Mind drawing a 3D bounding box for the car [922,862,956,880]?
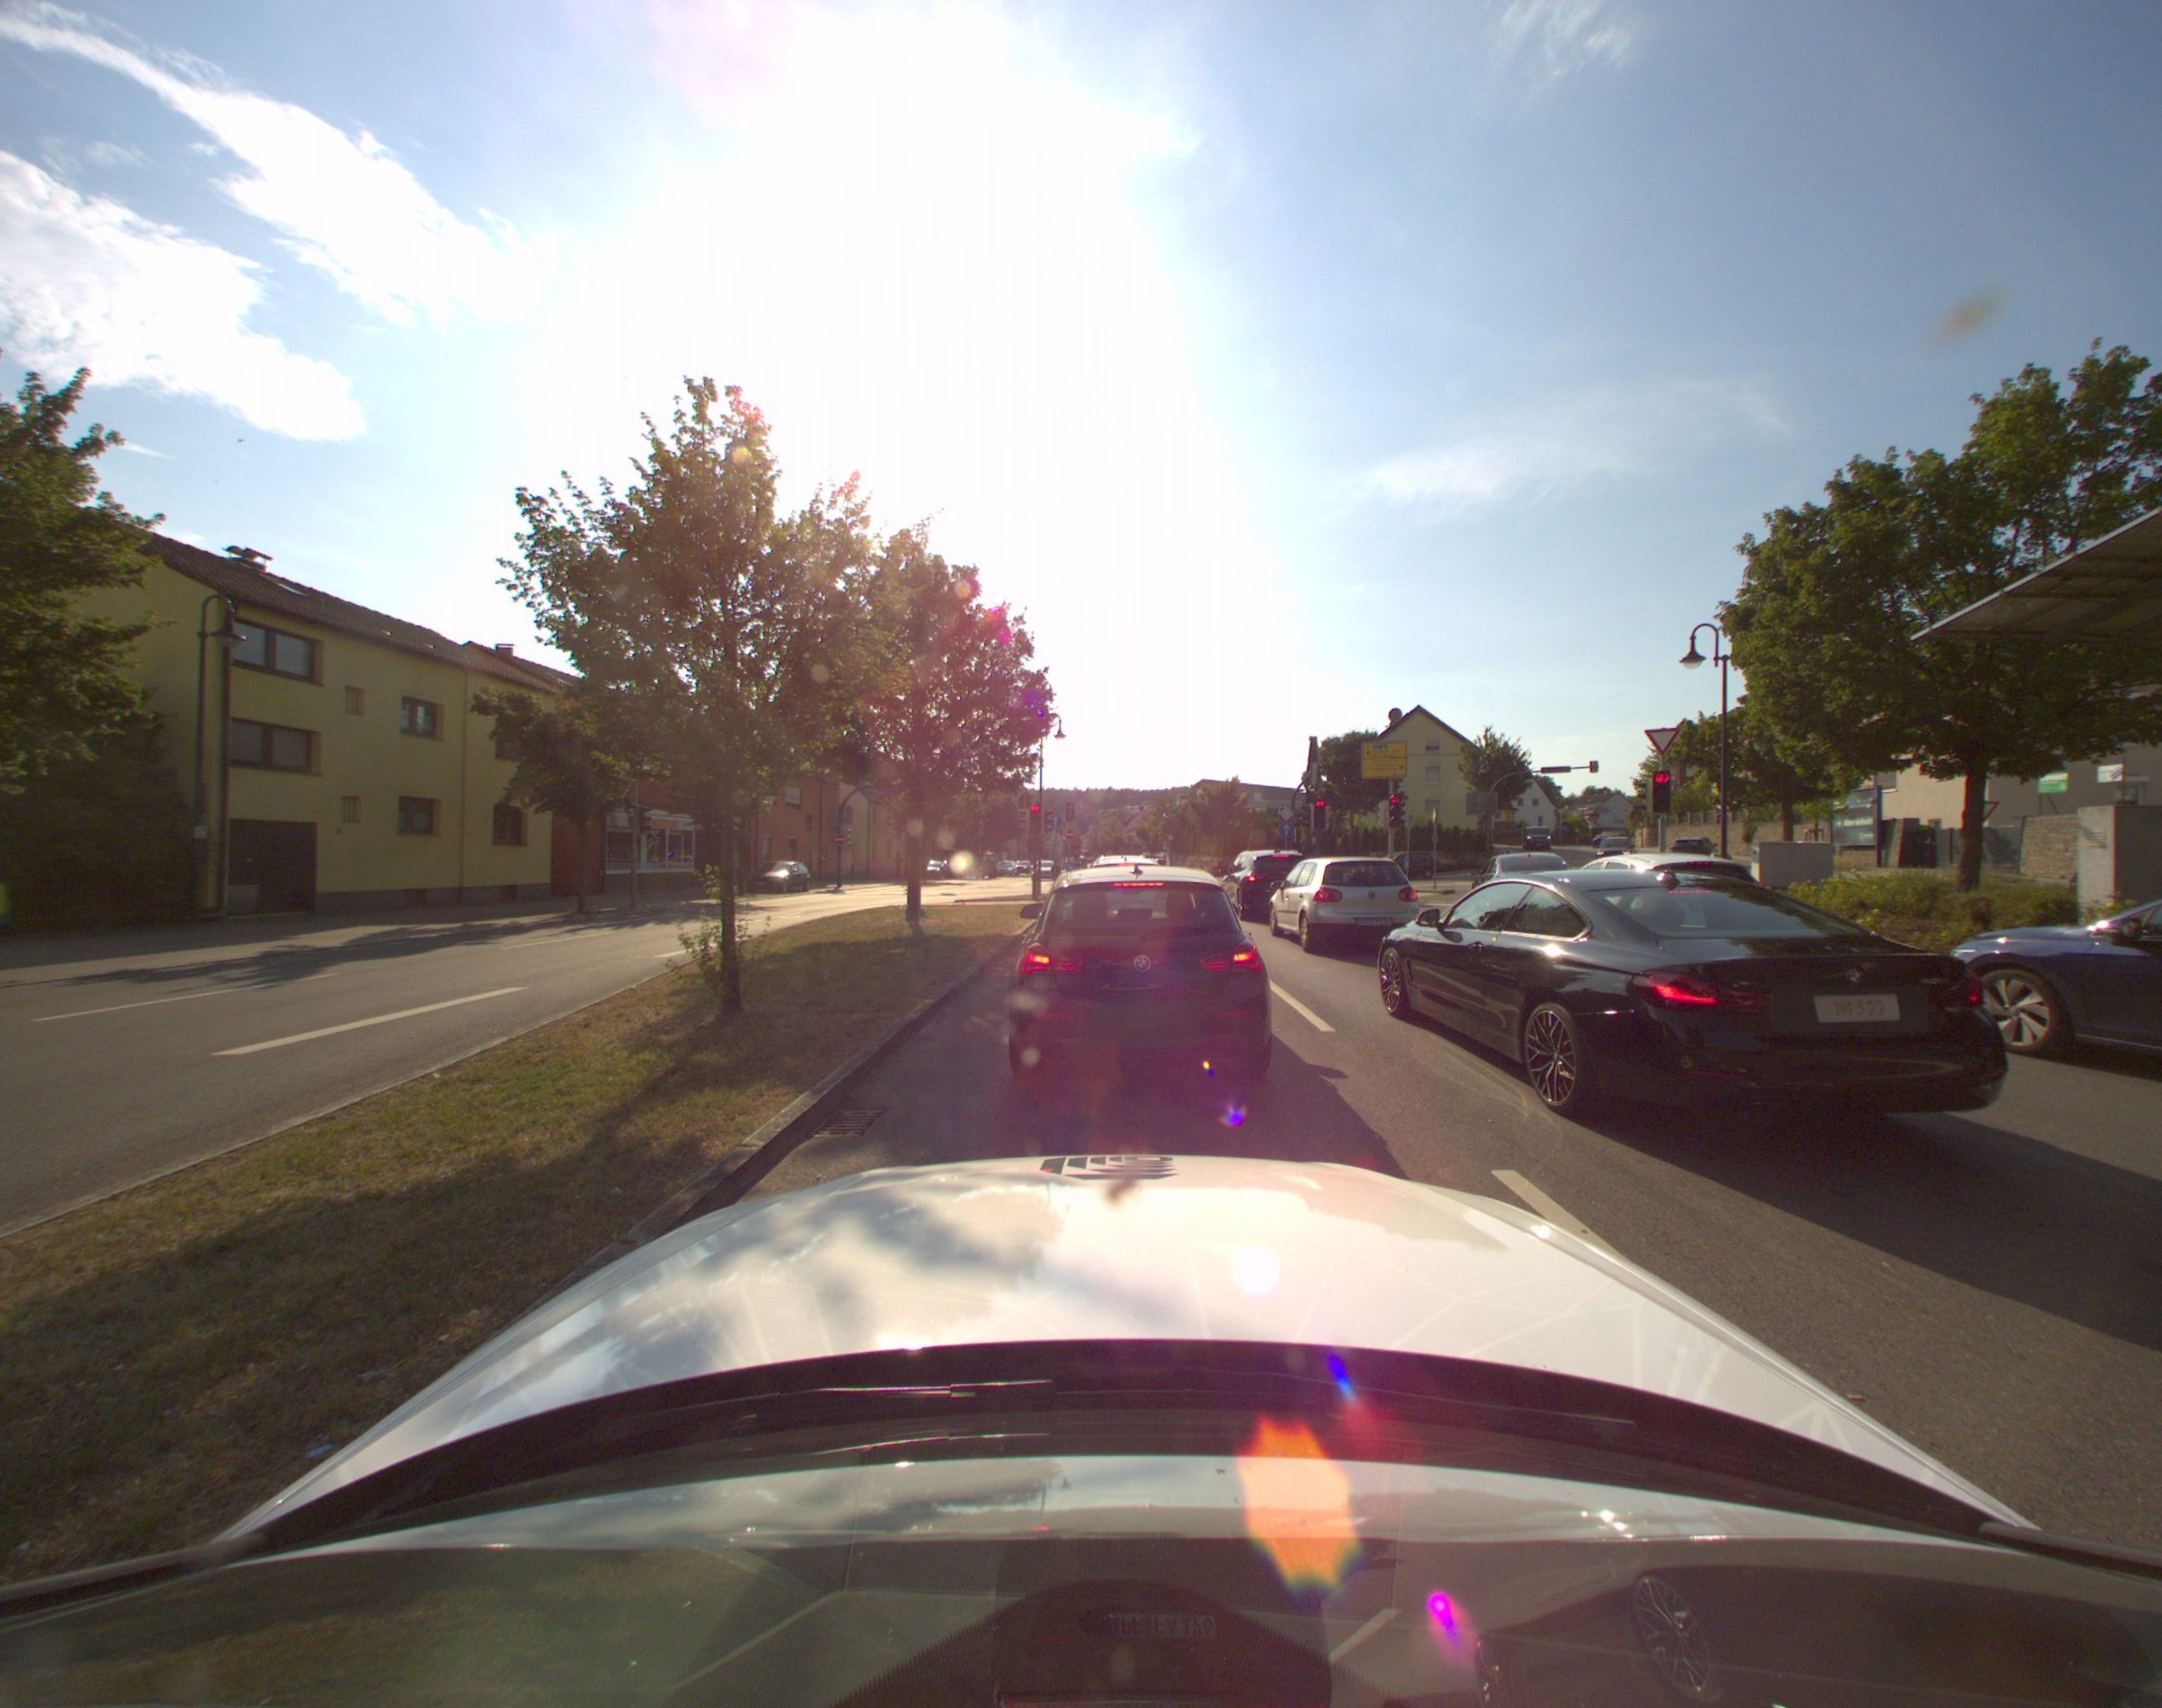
[{"bbox_3d":[-11.746,1.421,67.576,1.728,1.301,4.006,4,0,6],"label":"car"}]

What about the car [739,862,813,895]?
[{"bbox_3d":[-14.144,1.109,38.014,1.730,1.301,4.002,4,0,2],"label":"car"}]

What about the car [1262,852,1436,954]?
[{"bbox_3d":[4.313,0.709,13.743,1.755,1.426,3.905,-2,0,2],"label":"car"}]

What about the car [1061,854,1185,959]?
[{"bbox_3d":[0.711,0.774,14.092,1.781,1.494,4.283,-2,0,2],"label":"car"}]

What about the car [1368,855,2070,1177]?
[{"bbox_3d":[3.610,0.732,5.803,1.755,1.397,4.283,-2,0,2],"label":"car"}]

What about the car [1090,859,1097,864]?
[{"bbox_3d":[3.697,2.204,244.315,1.729,1.301,3.804,4,0,5],"label":"car"}]

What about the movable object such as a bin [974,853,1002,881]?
[{"bbox_3d":[-8.478,1.138,74.550,1.729,2.442,4.452,-1,0,3],"label":"movable object such as a bin"}]

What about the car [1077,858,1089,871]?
[{"bbox_3d":[0.400,2.043,159.119,2.076,2.394,5.531,0,-1,2],"label":"car"}]

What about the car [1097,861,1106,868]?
[{"bbox_3d":[4.680,2.333,184.683,1.729,1.301,3.804,4,0,5],"label":"car"}]

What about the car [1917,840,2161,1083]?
[{"bbox_3d":[7.419,0.644,4.284,1.754,1.453,4.323,-2,0,4],"label":"car"}]

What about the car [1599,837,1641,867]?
[{"bbox_3d":[31.642,-0.107,47.717,1.824,1.641,4.459,-1,0,36],"label":"car"}]

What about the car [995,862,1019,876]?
[{"bbox_3d":[-7.701,1.565,84.673,1.729,1.301,3.804,4,0,5],"label":"car"}]

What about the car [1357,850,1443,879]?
[{"bbox_3d":[17.341,0.564,44.338,3.974,1.489,1.848,0,0,-1],"label":"car"}]

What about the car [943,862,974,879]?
[{"bbox_3d":[-11.056,1.466,73.746,1.729,1.301,4.005,4,0,5],"label":"car"}]

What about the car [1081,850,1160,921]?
[{"bbox_3d":[1.013,0.734,21.131,1.781,1.594,4.283,-2,0,2],"label":"car"}]

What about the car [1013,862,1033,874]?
[{"bbox_3d":[-6.848,1.648,97.021,1.729,1.301,3.804,4,0,5],"label":"car"}]

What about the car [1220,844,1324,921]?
[{"bbox_3d":[4.561,0.643,20.025,1.755,1.656,3.905,-2,0,2],"label":"car"}]

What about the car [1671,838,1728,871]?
[{"bbox_3d":[33.022,0.019,43.421,1.946,1.680,4.240,-2,0,43],"label":"car"}]

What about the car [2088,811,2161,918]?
[{"bbox_3d":[18.485,0.150,12.363,3.793,1.632,1.784,0,0,10],"label":"car"}]

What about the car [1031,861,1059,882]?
[{"bbox_3d":[-2.664,1.294,60.913,1.832,1.482,4.002,-1,0,2],"label":"car"}]

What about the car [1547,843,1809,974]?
[{"bbox_3d":[8.102,0.664,11.444,1.608,1.542,3.326,-2,0,9],"label":"car"}]

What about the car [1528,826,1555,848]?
[{"bbox_3d":[38.994,-1.386,68.989,1.825,1.739,4.813,-1,0,27],"label":"car"}]

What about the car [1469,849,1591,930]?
[{"bbox_3d":[9.874,0.707,18.217,1.642,1.542,4.420,-2,0,19],"label":"car"}]

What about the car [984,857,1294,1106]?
[{"bbox_3d":[0.432,0.766,6.948,1.781,1.397,4.283,-2,0,2],"label":"car"}]
